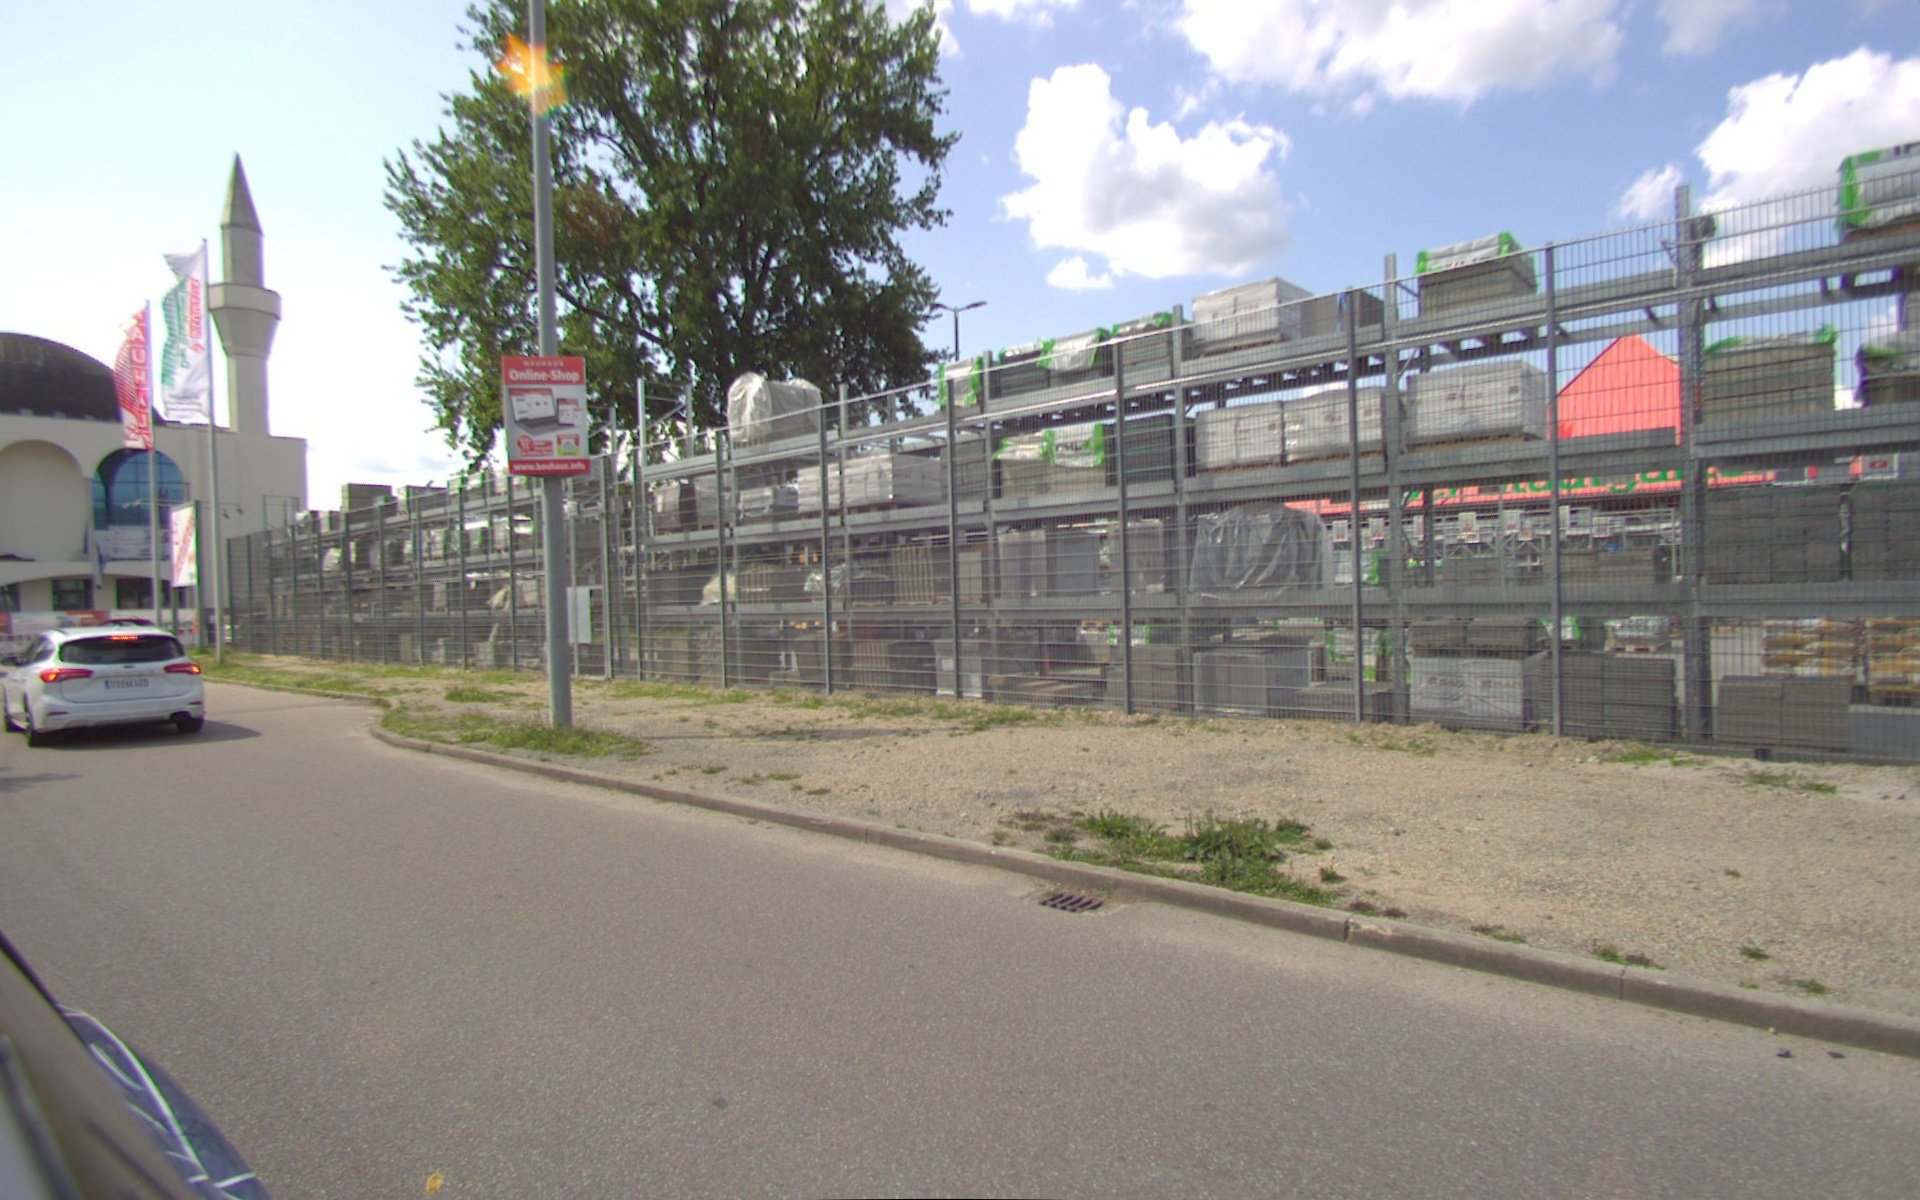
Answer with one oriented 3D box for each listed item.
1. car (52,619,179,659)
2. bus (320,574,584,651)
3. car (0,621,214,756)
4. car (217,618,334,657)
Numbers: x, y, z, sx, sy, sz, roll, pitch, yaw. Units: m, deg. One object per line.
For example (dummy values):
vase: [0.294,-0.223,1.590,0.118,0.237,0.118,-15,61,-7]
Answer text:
car: [-37.682,1.715,45.226,1.792,1.521,4.135,-2,0,42]
bus: [-24.801,0.459,50.246,2.893,3.389,11.407,-2,0,42]
car: [-11.810,1.091,13.756,4.327,1.475,1.785,-2,0,41]
car: [-31.581,1.689,46.796,1.721,1.576,4.156,-2,0,38]
